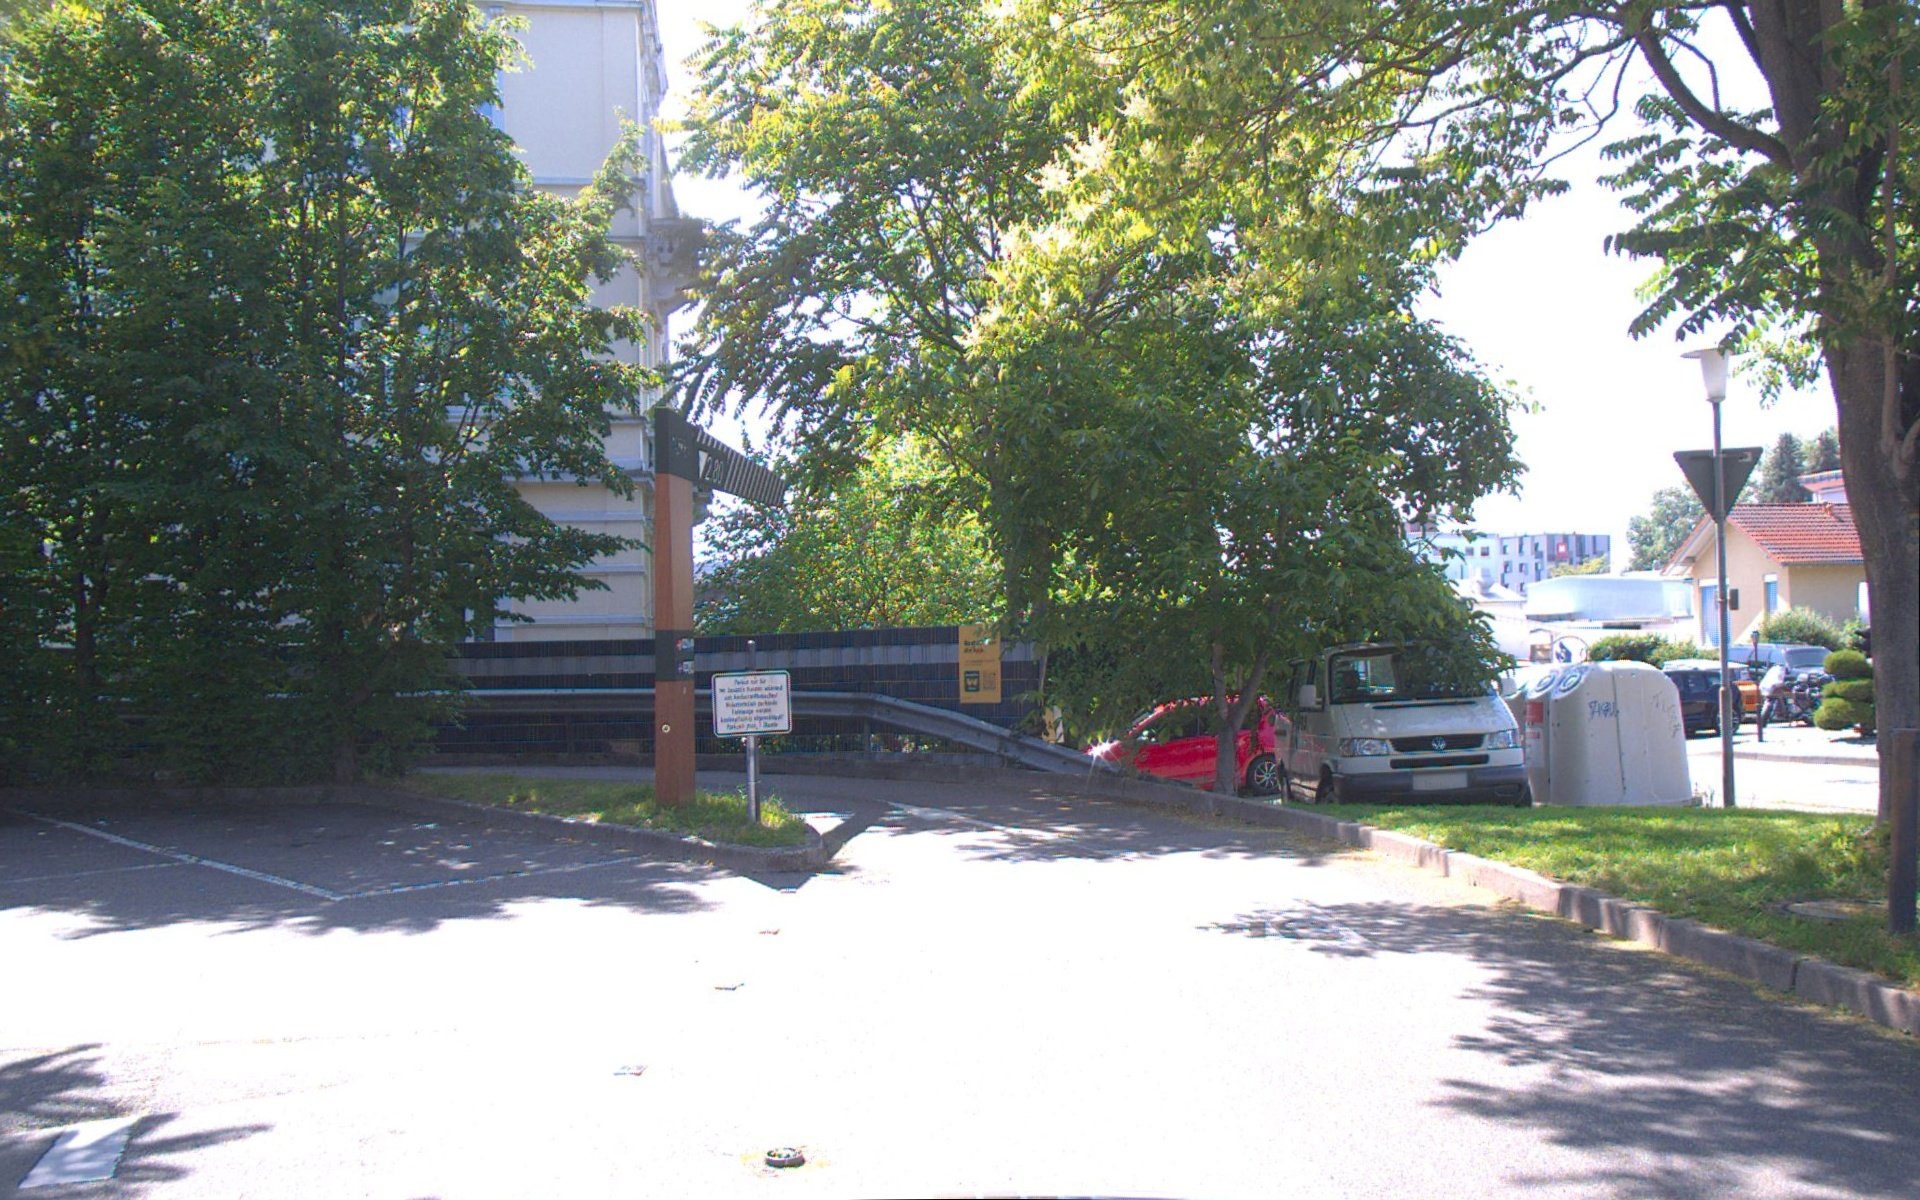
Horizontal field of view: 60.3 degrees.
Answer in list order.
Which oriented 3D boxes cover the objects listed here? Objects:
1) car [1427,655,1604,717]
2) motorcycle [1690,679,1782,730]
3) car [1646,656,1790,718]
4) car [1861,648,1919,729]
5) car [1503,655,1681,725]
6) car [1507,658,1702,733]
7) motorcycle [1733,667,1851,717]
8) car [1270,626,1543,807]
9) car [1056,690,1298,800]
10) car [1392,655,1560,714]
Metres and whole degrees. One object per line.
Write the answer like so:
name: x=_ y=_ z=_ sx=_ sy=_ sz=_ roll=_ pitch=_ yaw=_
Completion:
car: x=16.182 y=2.505 z=48.246 sx=4.559 sy=1.756 sz=1.993 roll=1 pitch=-3 yaw=-13
motorcycle: x=18.582 y=2.495 z=39.624 sx=1.829 sy=1.179 sz=0.790 roll=0 pitch=-2 yaw=6
car: x=20.979 y=2.382 z=45.957 sx=1.954 sy=1.613 sz=3.996 roll=0 pitch=-2 yaw=-4
car: x=20.865 y=1.783 z=33.511 sx=4.230 sy=1.613 sz=2.001 roll=0 pitch=-2 yaw=17
car: x=16.501 y=2.347 z=43.264 sx=3.919 sy=1.756 sz=1.993 roll=1 pitch=-3 yaw=-14
car: x=15.563 y=2.288 z=40.063 sx=3.910 sy=1.736 sz=1.997 roll=0 pitch=-2 yaw=-7
motorcycle: x=21.135 y=2.329 z=42.035 sx=2.664 sy=1.248 sz=0.995 roll=1 pitch=-2 yaw=-14
car: x=4.454 y=1.080 z=17.284 sx=1.910 sy=1.611 sz=5.034 roll=0 pitch=-1 yaw=5
car: x=3.196 y=2.131 z=24.699 sx=3.337 sy=1.403 sz=1.485 roll=-1 pitch=0 yaw=-5
car: x=15.776 y=2.581 z=50.632 sx=4.559 sy=1.756 sz=1.993 roll=1 pitch=-3 yaw=-13
